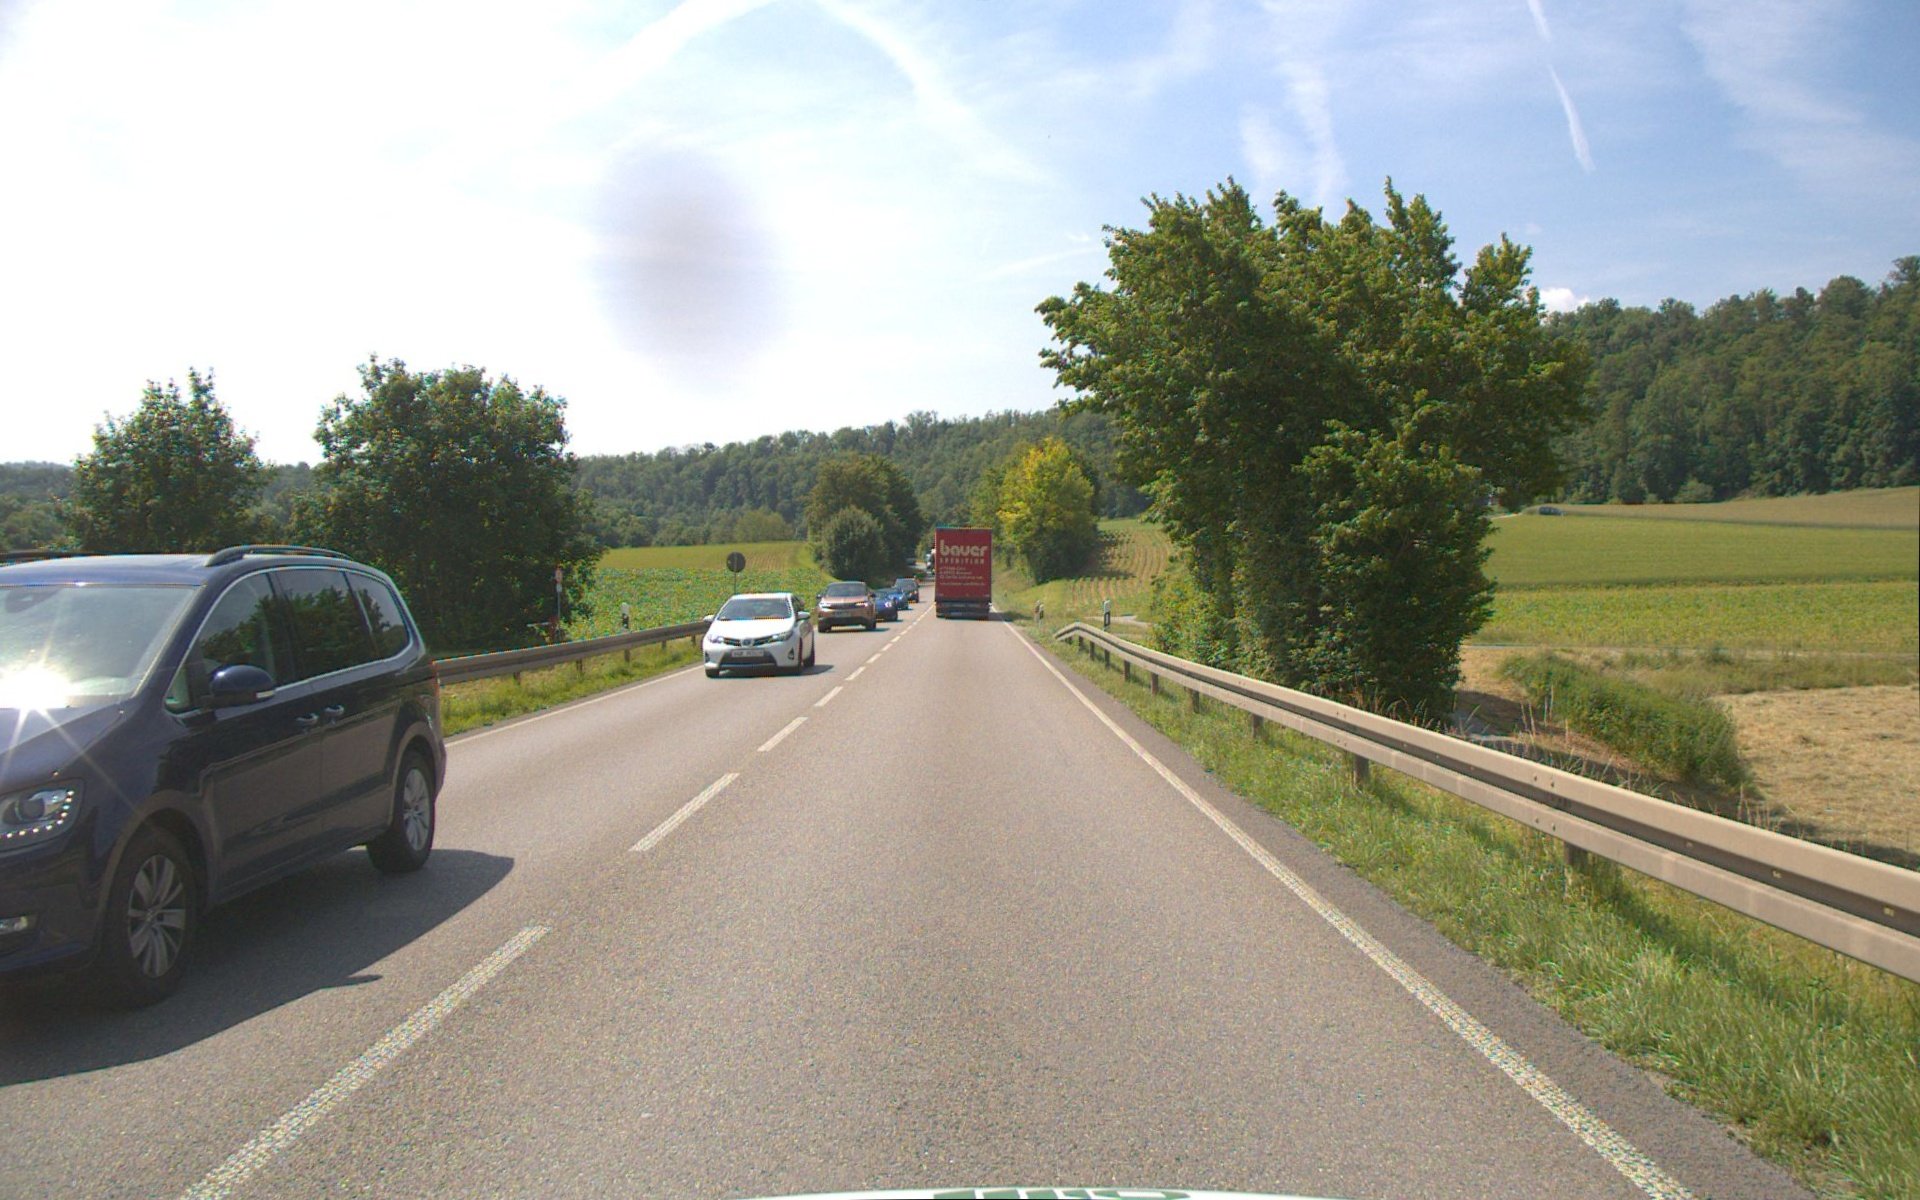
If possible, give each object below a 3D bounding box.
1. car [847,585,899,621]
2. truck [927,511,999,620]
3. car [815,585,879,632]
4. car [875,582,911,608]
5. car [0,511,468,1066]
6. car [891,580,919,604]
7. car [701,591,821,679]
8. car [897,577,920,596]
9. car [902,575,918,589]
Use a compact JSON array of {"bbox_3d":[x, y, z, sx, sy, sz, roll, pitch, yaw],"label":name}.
[{"bbox_3d":[-3.599,0.100,69.161,1.953,1.365,4.000,-1,1,0],"label":"car"},{"bbox_3d":[0.105,-1.596,78.810,3.107,4.706,13.543,0,1,0],"label":"truck"},{"bbox_3d":[-3.818,0.275,56.586,1.873,1.500,3.874,-1,1,0],"label":"car"},{"bbox_3d":[-3.717,-0.296,92.322,1.795,1.365,4.000,-1,1,0],"label":"car"},{"bbox_3d":[-3.760,0.614,7.410,1.792,1.752,4.362,-2,0,-1],"label":"car"},{"bbox_3d":[-3.733,-0.566,113.245,1.771,1.512,4.000,-1,1,0],"label":"car"},{"bbox_3d":[-3.653,0.600,30.895,1.695,1.459,3.916,-3,0,0],"label":"car"},{"bbox_3d":[-4.223,-1.097,135.955,1.771,1.512,4.000,-1,1,0],"label":"car"},{"bbox_3d":[-6.671,-2.428,221.044,1.953,1.825,3.999,-1,0,-1],"label":"car"}]
